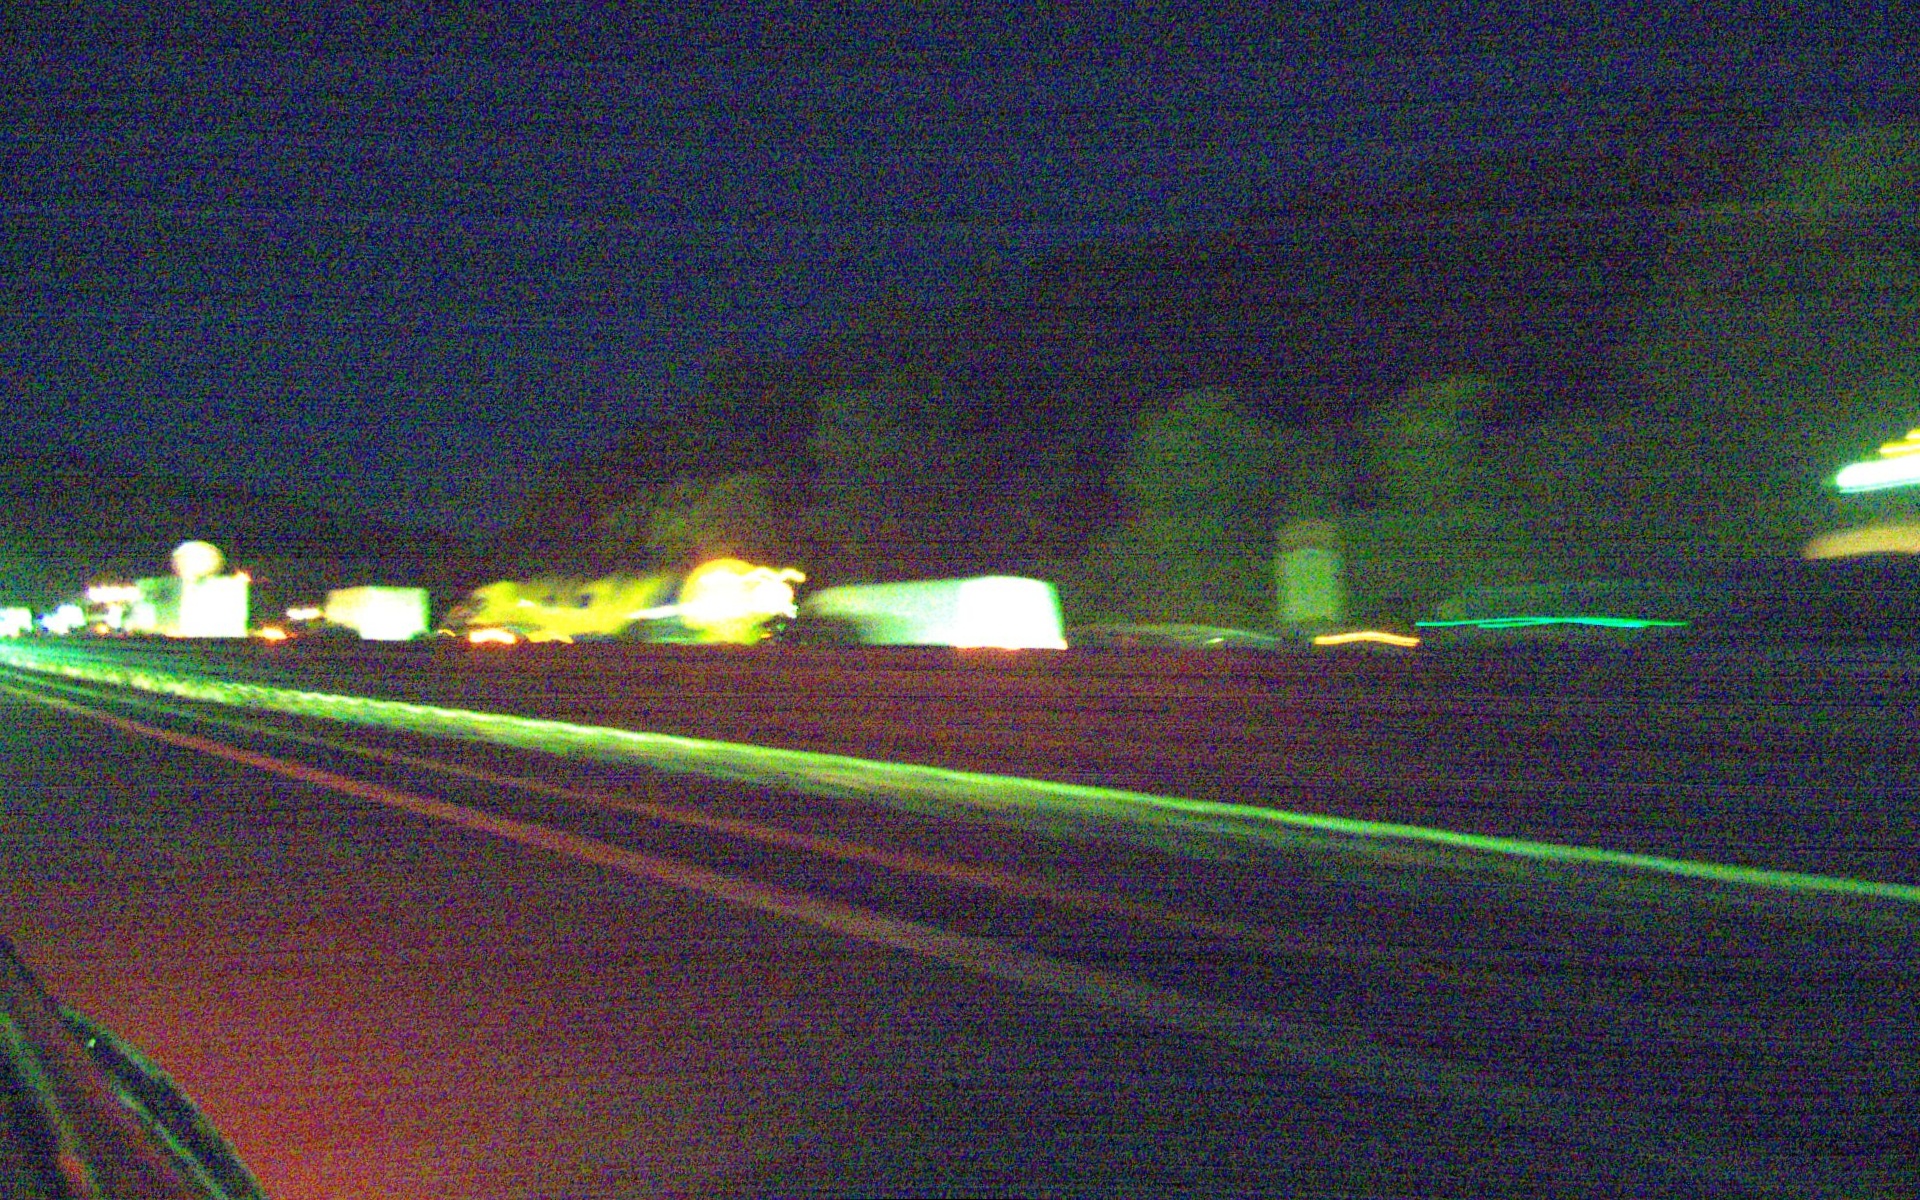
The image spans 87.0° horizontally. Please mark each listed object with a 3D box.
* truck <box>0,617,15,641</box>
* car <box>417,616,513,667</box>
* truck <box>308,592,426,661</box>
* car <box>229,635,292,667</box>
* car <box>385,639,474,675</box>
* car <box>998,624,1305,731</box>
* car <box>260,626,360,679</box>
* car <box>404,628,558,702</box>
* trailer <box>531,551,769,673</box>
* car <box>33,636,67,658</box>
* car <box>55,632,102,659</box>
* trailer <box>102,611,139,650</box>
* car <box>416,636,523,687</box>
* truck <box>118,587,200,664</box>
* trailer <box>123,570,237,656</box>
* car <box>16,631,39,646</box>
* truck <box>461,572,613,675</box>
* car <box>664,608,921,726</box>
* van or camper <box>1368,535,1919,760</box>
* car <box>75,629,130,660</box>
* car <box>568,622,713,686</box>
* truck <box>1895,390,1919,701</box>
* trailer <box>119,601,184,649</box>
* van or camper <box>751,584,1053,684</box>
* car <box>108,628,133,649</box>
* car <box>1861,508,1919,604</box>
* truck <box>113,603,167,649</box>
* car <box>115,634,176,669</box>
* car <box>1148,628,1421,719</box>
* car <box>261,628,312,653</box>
[{"bbox_3d":[-166.249,5.034,175.120,2.852,4.002,4.013,0,0,-26],"label":"truck"},{"bbox_3d":[-23.856,1.990,48.714,4.786,2.313,2.433,-2,-3,41],"label":"car"},{"bbox_3d":[-27.761,1.235,47.171,8.172,2.981,2.529,-2,-2,43],"label":"truck"},{"bbox_3d":[-31.116,2.236,44.992,4.162,1.325,1.553,-2,-1,44],"label":"car"},{"bbox_3d":[-21.193,2.235,40.347,4.573,1.364,1.554,-2,-3,41],"label":"car"},{"bbox_3d":[2.766,1.066,15.221,4.239,1.364,1.777,-2,-1,43],"label":"car"},{"bbox_3d":[-18.379,1.429,28.550,4.001,1.364,1.553,-2,-1,44],"label":"car"},{"bbox_3d":[-9.962,1.276,20.912,4.001,1.364,1.553,-2,-1,44],"label":"car"},{"bbox_3d":[-9.548,0.300,30.385,9.002,3.199,2.578,-1,1,43],"label":"trailer"},{"bbox_3d":[-68.821,3.537,76.517,1.811,1.565,4.517,2,-3,-42],"label":"car"},{"bbox_3d":[-51.756,2.677,59.403,1.822,1.437,4.516,-2,0,-44],"label":"car"},{"bbox_3d":[-102.941,3.750,123.993,2.804,4.498,14.542,4,-4,-41],"label":"trailer"},{"bbox_3d":[-14.387,1.746,29.578,4.001,1.364,1.553,-2,-1,44],"label":"car"},{"bbox_3d":[-46.820,1.376,59.105,3.072,4.127,7.083,-2,1,-43],"label":"truck"},{"bbox_3d":[-41.679,0.611,53.846,12.455,4.119,3.056,0,2,45],"label":"trailer"},{"bbox_3d":[-88.381,3.598,95.922,1.609,1.360,4.004,0,-1,-43],"label":"car"},{"bbox_3d":[-14.795,0.744,35.230,5.795,3.243,2.615,0,1,43],"label":"truck"},{"bbox_3d":[-2.544,0.885,14.732,4.001,1.482,1.639,-2,-1,44],"label":"car"},{"bbox_3d":[5.948,0.303,7.213,5.348,1.364,1.801,-2,-1,41],"label":"van or camper"},{"bbox_3d":[-43.462,2.237,51.245,1.852,1.437,4.516,0,-1,-44],"label":"car"},{"bbox_3d":[-7.582,1.225,23.826,4.001,1.364,1.553,-2,-1,44],"label":"car"},{"bbox_3d":[14.186,-0.709,10.254,6.719,3.540,2.379,-2,-1,41],"label":"truck"},{"bbox_3d":[-68.877,2.205,86.178,8.736,3.947,2.790,-2,-4,42],"label":"trailer"},{"bbox_3d":[-1.592,0.776,23.904,7.632,2.029,2.166,-2,-1,39],"label":"van or camper"},{"bbox_3d":[-88.474,3.998,106.670,1.880,1.900,5.029,-1,2,-41],"label":"car"},{"bbox_3d":[15.317,-0.671,14.174,3.999,1.364,1.553,-2,-1,43],"label":"car"},{"bbox_3d":[-72.355,2.347,89.307,4.933,3.946,2.797,-2,-4,42],"label":"truck"},{"bbox_3d":[-34.398,2.142,42.723,4.001,1.364,1.553,-2,-1,44],"label":"car"},{"bbox_3d":[5.513,1.185,17.550,4.239,1.364,1.553,-2,-1,43],"label":"car"},{"bbox_3d":[-37.592,2.218,56.479,4.162,1.325,1.553,-2,-1,44],"label":"car"}]
